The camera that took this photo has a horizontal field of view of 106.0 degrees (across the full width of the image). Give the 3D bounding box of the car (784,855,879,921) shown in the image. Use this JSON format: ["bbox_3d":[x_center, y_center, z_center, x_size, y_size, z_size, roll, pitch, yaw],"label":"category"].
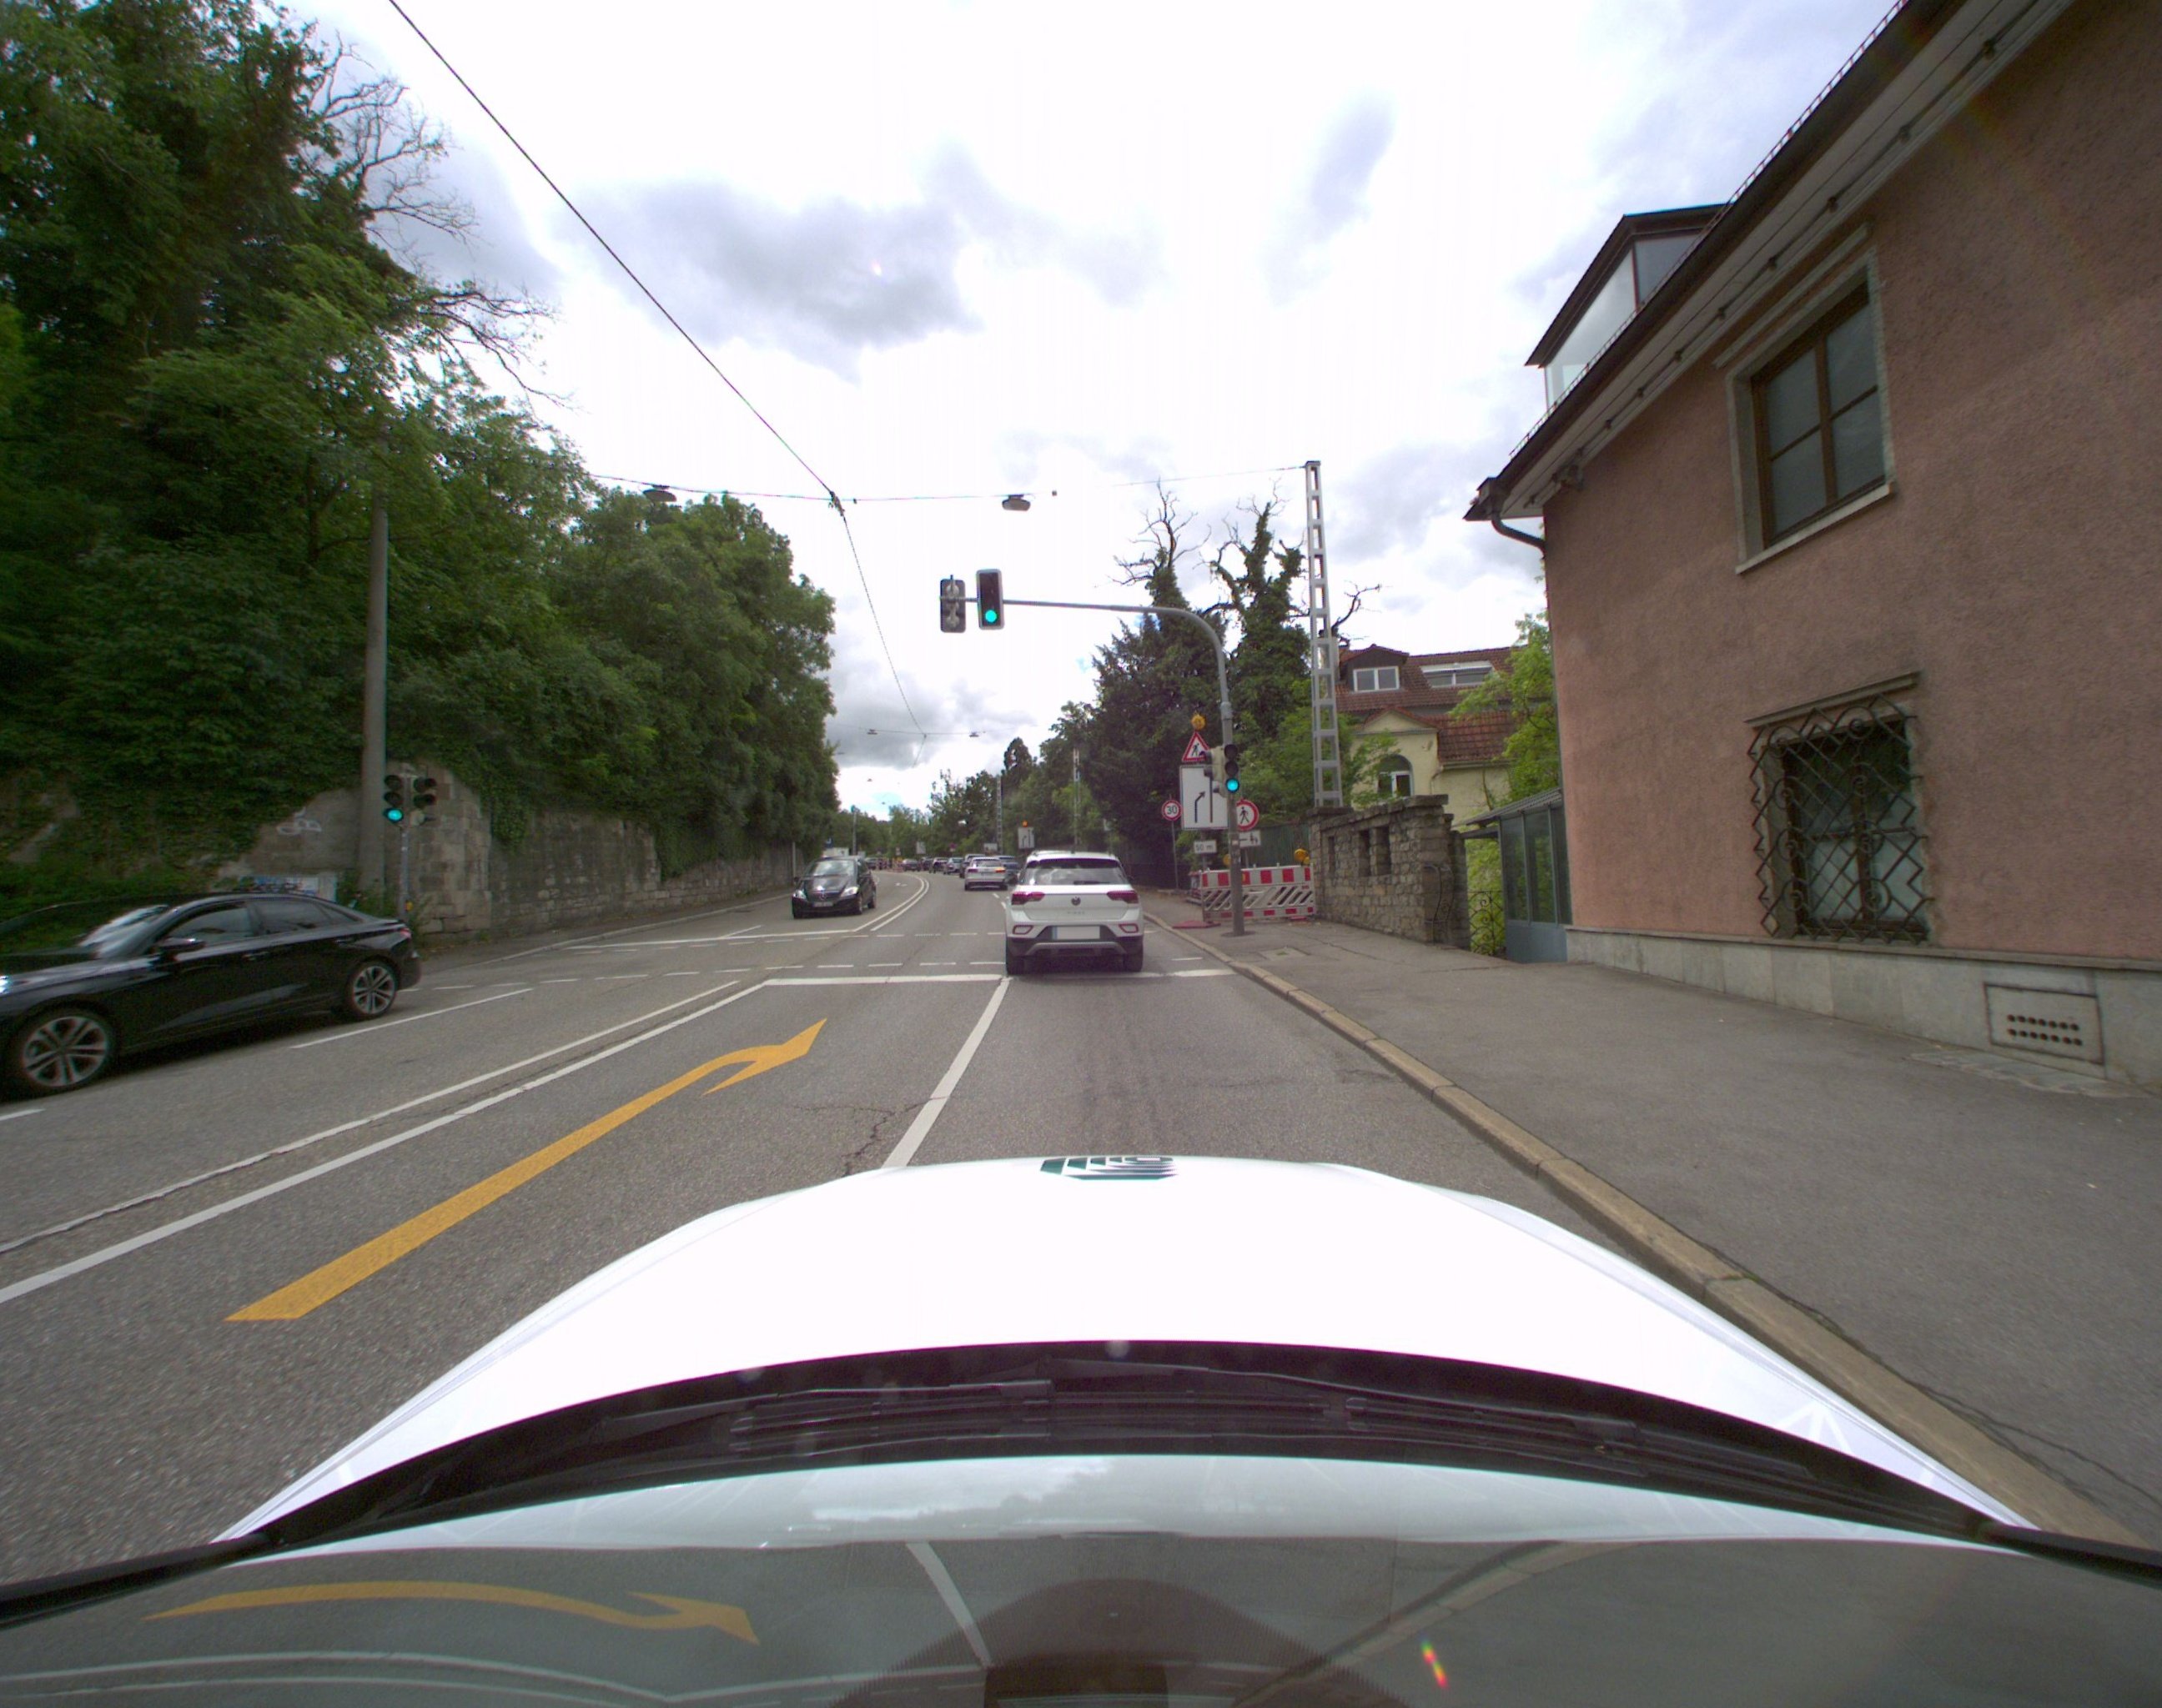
[{"bbox_3d":[-6.835,0.878,22.685,1.752,1.566,3.671,-3,0,-6],"label":"car"}]

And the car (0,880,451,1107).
[{"bbox_3d":[-8.256,1.067,7.314,1.677,1.418,4.427,-3,0,0],"label":"car"}]

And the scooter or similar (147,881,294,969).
[{"bbox_3d":[-13.024,1.091,12.366,0.429,1.238,1.358,2,-5,37],"label":"scooter or similar"}]

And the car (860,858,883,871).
[{"bbox_3d":[-28.086,1.367,109.124,1.853,1.699,3.959,-2,0,-32],"label":"car"}]

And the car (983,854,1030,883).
[{"bbox_3d":[-4.171,0.816,44.867,1.996,1.414,4.131,-2,-1,-13],"label":"car"}]

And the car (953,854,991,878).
[{"bbox_3d":[-7.563,0.825,56.282,1.998,1.556,4.127,-1,0,-16],"label":"car"}]

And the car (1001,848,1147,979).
[{"bbox_3d":[-0.154,0.742,11.675,1.753,1.556,3.791,0,-1,-2],"label":"car"}]

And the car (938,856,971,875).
[{"bbox_3d":[-10.542,0.964,67.651,1.999,1.450,4.124,-1,-1,-19],"label":"car"}]

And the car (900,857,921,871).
[{"bbox_3d":[-19.607,1.174,93.476,1.787,1.454,3.972,-1,-1,-21],"label":"car"}]

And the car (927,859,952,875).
[{"bbox_3d":[-13.484,1.263,77.514,1.997,1.450,4.128,-2,-1,-15],"label":"car"}]

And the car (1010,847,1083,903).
[{"bbox_3d":[-1.150,0.627,25.407,1.758,1.609,3.781,0,-1,-11],"label":"car"}]

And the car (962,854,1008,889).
[{"bbox_3d":[-4.281,0.752,35.980,1.758,1.471,3.781,0,-1,-10],"label":"car"}]
